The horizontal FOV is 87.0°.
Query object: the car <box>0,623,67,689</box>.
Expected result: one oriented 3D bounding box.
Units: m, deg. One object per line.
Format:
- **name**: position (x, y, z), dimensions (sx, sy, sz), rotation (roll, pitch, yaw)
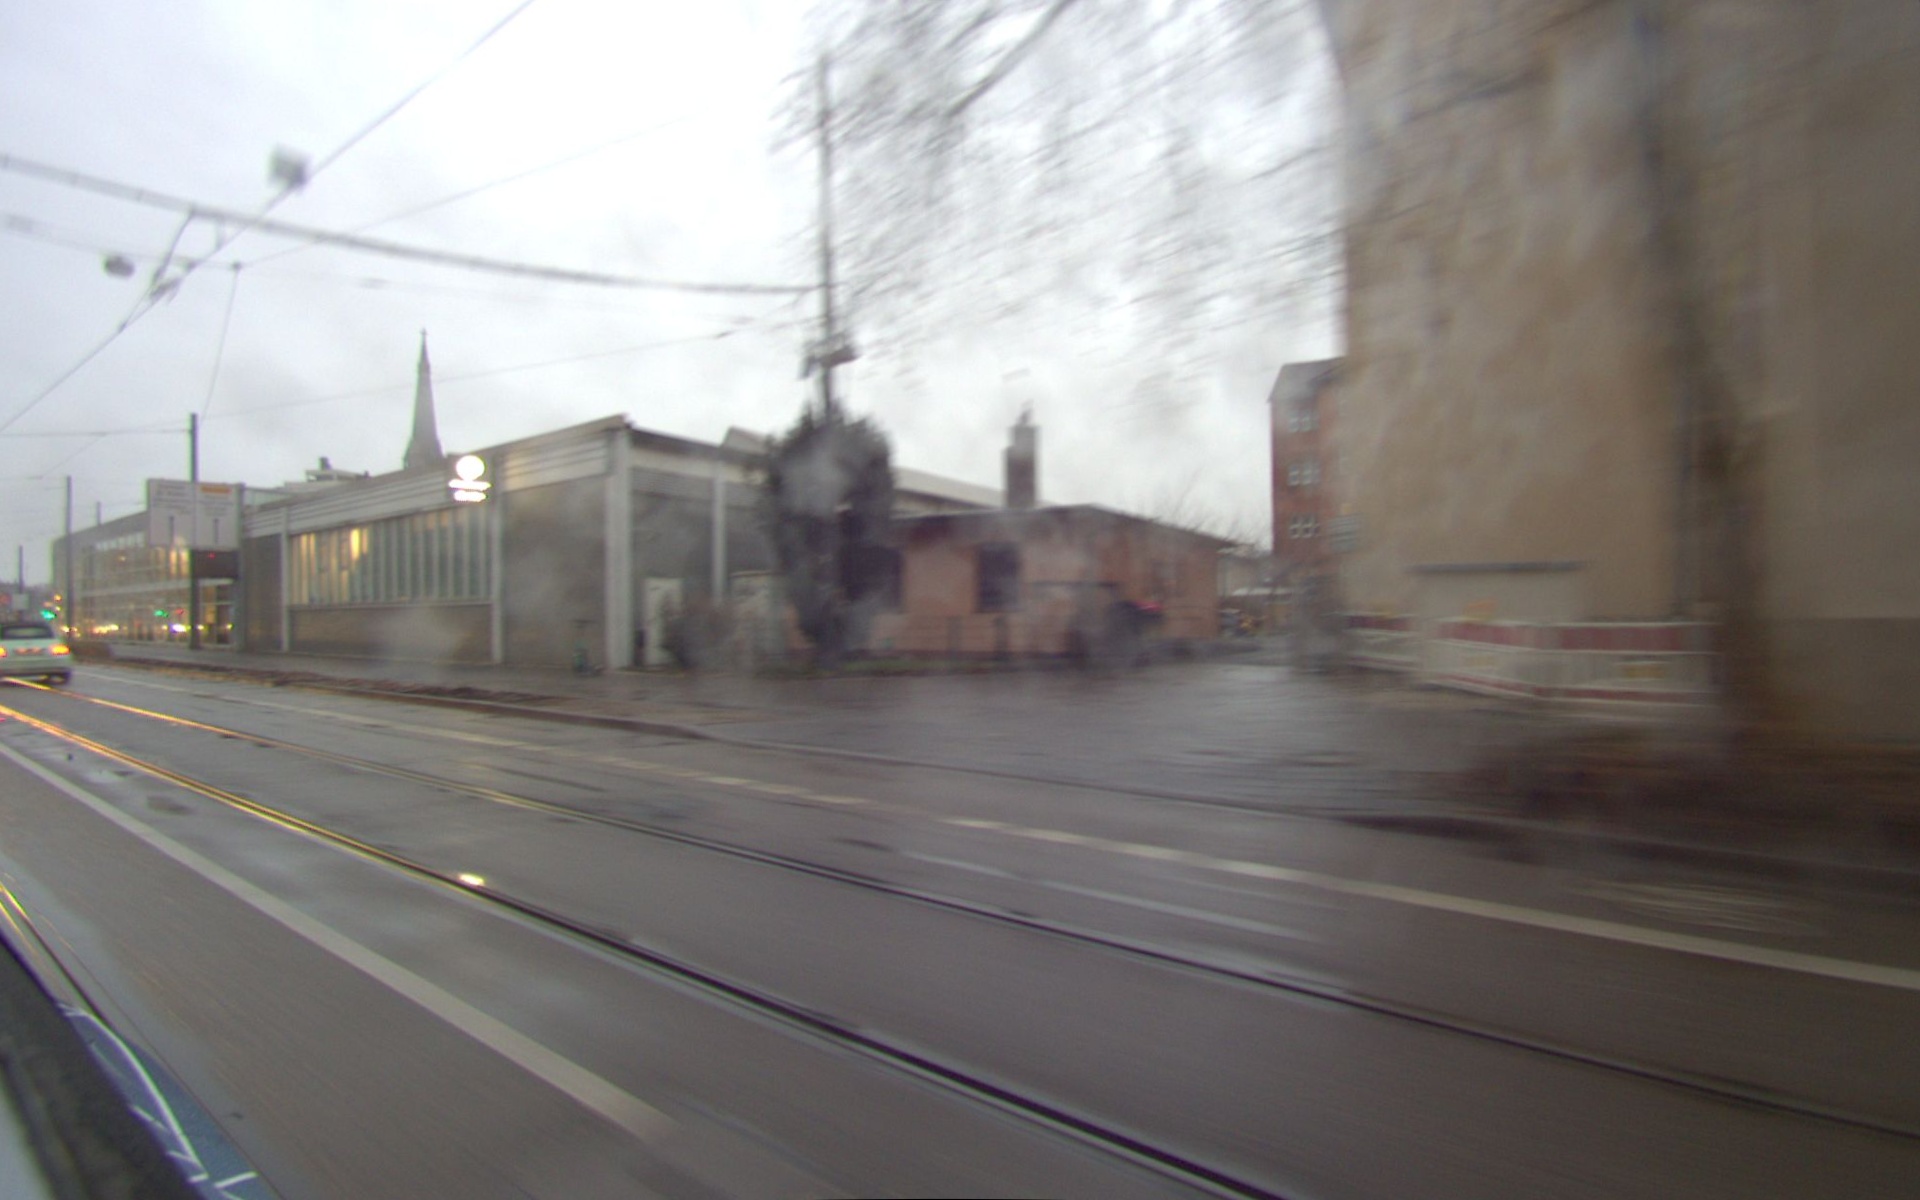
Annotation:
- **car**: position (-23.088, 1.327, 24.697), dimensions (3.559, 1.493, 1.514), rotation (-1, -1, 41)
